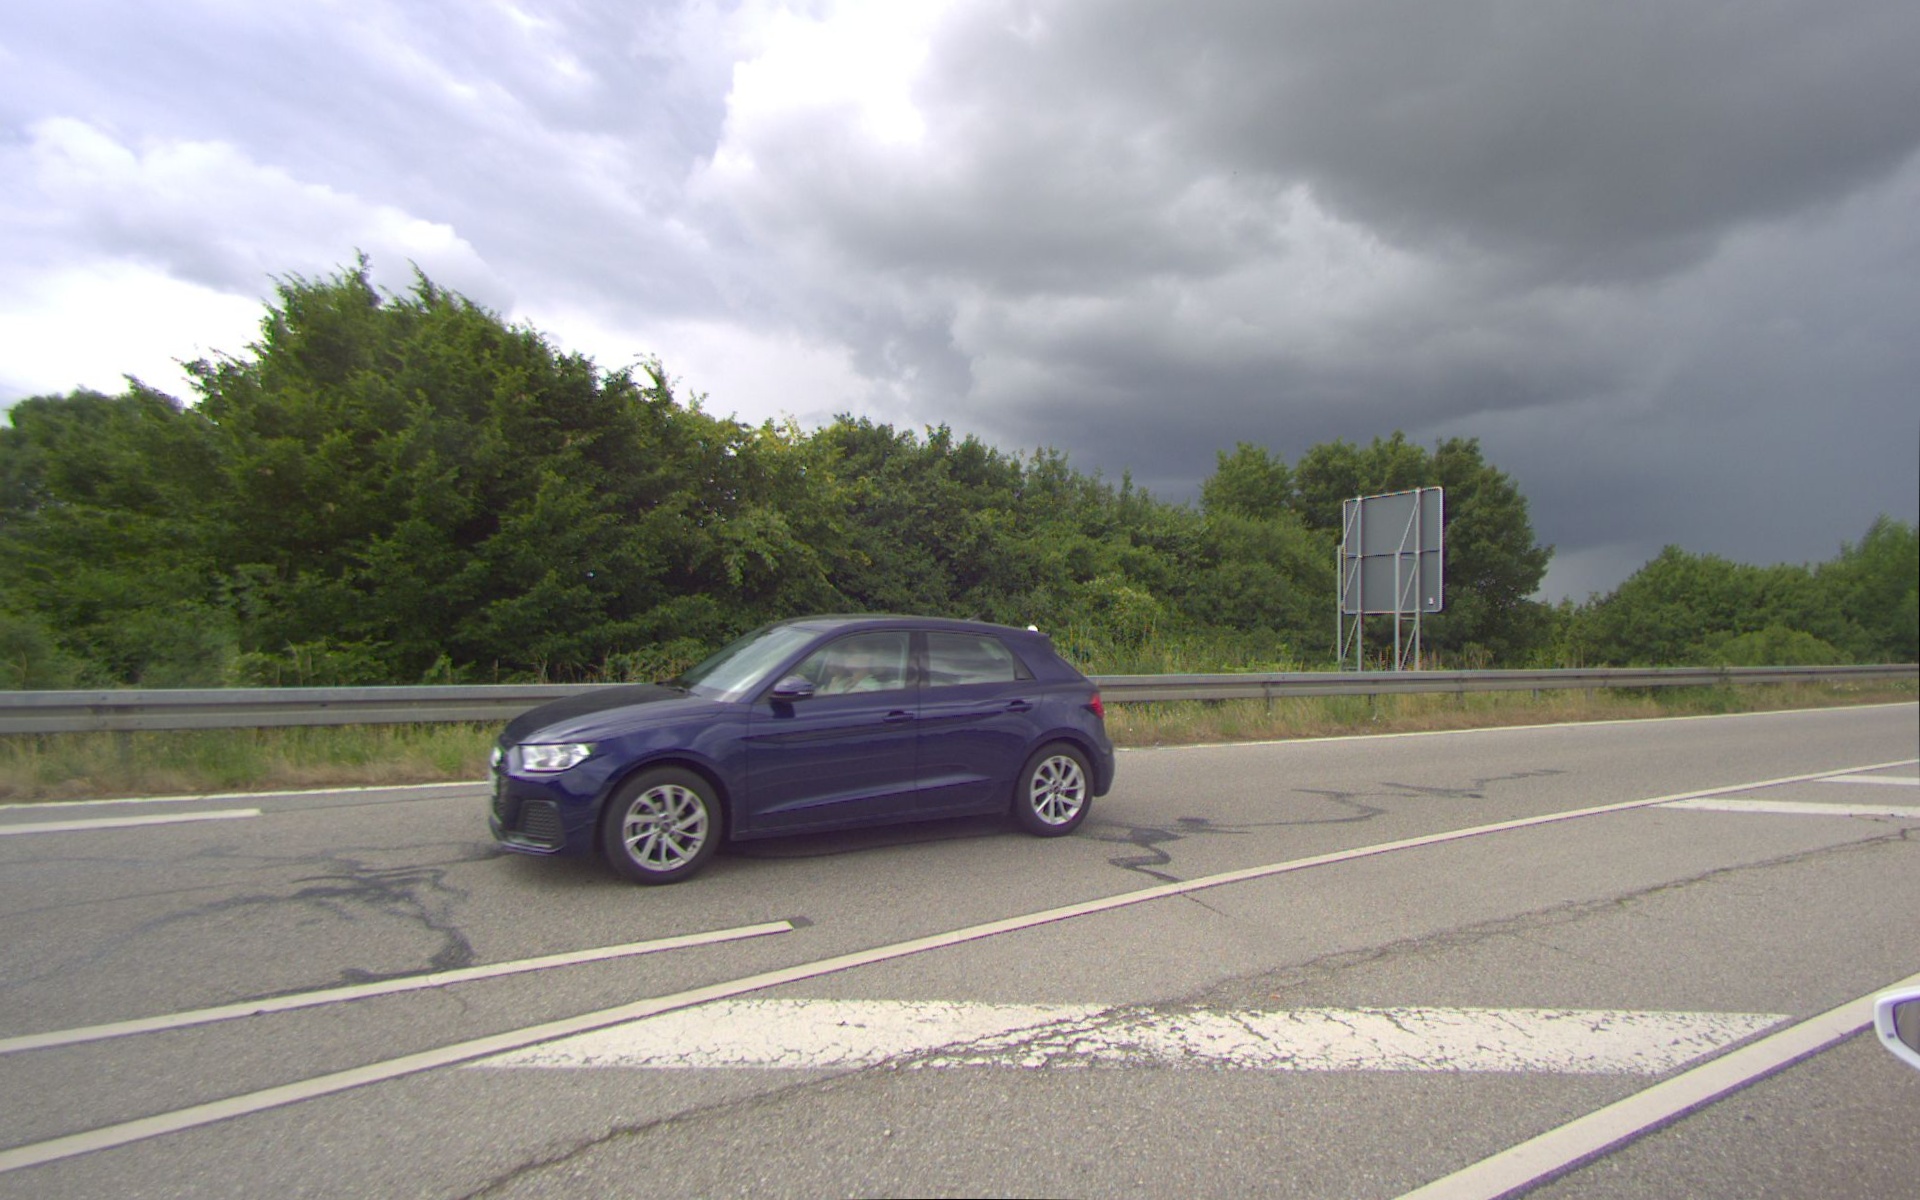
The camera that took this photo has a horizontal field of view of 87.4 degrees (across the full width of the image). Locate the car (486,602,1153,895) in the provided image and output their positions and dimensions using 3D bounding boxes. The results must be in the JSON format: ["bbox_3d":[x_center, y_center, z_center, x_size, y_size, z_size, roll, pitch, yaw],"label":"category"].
[{"bbox_3d":[-0.850,0.760,6.619,3.954,1.394,1.853,2,-1,-31],"label":"car"}]
